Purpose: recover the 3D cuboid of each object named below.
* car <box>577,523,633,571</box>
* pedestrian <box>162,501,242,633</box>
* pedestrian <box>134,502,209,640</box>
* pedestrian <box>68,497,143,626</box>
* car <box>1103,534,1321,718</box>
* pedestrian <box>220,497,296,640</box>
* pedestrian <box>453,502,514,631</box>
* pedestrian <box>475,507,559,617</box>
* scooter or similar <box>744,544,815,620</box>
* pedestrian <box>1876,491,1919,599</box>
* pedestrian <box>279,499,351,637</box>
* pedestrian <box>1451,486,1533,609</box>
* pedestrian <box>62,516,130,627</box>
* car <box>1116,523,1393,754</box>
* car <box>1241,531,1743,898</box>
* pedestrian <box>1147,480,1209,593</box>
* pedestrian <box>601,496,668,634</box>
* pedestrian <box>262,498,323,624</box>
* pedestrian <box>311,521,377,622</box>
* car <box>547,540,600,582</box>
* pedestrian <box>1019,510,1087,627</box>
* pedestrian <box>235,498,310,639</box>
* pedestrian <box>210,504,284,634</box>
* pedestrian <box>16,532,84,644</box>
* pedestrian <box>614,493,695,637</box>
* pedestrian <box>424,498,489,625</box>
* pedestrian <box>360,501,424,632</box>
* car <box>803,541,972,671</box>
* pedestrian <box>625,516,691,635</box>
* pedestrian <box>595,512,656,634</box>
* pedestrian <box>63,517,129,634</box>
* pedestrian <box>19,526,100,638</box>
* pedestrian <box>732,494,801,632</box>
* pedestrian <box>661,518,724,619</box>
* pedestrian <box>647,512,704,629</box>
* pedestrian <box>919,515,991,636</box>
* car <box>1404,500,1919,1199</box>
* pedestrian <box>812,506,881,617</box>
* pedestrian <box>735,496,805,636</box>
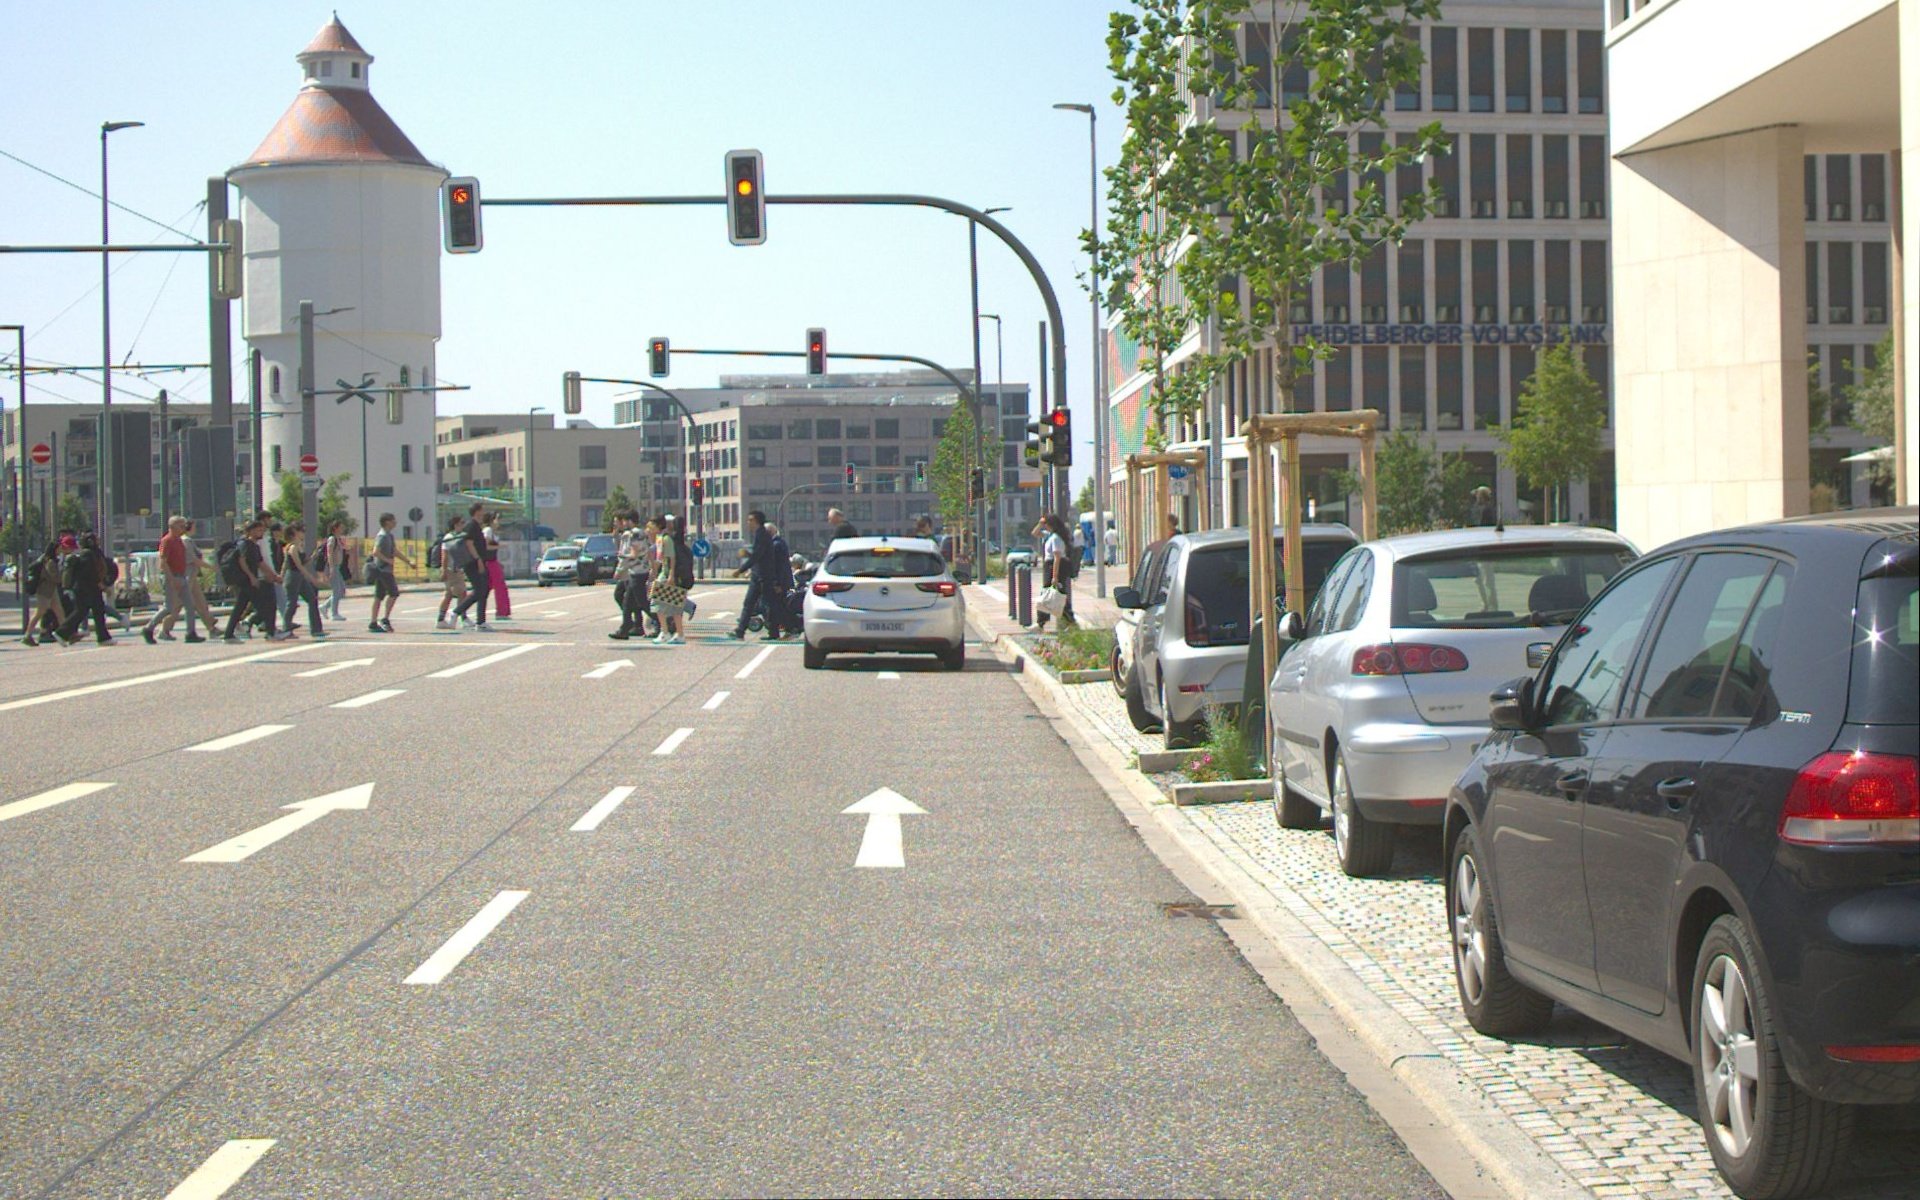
[{"bbox_3d":[-11.745,-1.742,113.896,1.586,1.525,3.693,0,0,-2],"label":"car"},{"bbox_3d":[-10.971,-0.485,49.768,0.888,1.884,0.796,-1,1,4],"label":"pedestrian"},{"bbox_3d":[-10.974,-0.408,47.886,0.887,1.884,0.692,-1,1,-6],"label":"pedestrian"},{"bbox_3d":[-13.492,-0.614,54.271,1.020,2.007,0.955,-2,1,-19],"label":"pedestrian"},{"bbox_3d":[2.047,0.166,28.761,1.429,1.385,4.000,-1,1,-1],"label":"car"},{"bbox_3d":[-9.393,-0.429,46.024,0.887,1.884,0.692,-1,1,-6],"label":"pedestrian"},{"bbox_3d":[-7.034,-0.503,50.785,0.766,1.884,0.692,-1,1,0],"label":"pedestrian"},{"bbox_3d":[-7.442,-0.647,57.817,1.181,1.814,1.068,-1,1,3],"label":"pedestrian"},{"bbox_3d":[-2.732,-0.282,52.013,0.950,1.114,0.767,-1,1,-10],"label":"scooter or similar"},{"bbox_3d":[17.632,-1.044,64.579,0.643,2.007,0.622,-1,1,-1],"label":"pedestrian"},{"bbox_3d":[-8.955,-0.455,47.762,0.887,1.884,0.692,-1,1,-6],"label":"pedestrian"},{"bbox_3d":[7.274,-0.714,47.028,0.990,1.649,0.692,-1,1,1],"label":"pedestrian"},{"bbox_3d":[-13.376,-0.446,53.214,0.893,1.668,1.013,-2,1,-19],"label":"pedestrian"},{"bbox_3d":[1.991,0.211,24.072,1.556,1.467,3.470,-1,1,-1],"label":"car"},{"bbox_3d":[2.327,0.429,15.939,1.605,1.383,3.815,-4,1,-1],"label":"car"},{"bbox_3d":[3.235,-0.945,50.994,0.888,1.641,0.796,-1,1,3],"label":"pedestrian"},{"bbox_3d":[-4.499,-0.486,47.546,0.730,1.884,0.821,-1,1,5],"label":"pedestrian"},{"bbox_3d":[-10.100,-0.590,52.024,0.734,1.884,0.713,1,1,4],"label":"pedestrian"},{"bbox_3d":[-10.273,-0.480,57.390,0.888,1.641,0.796,-1,1,3],"label":"pedestrian"},{"bbox_3d":[-14.281,-1.442,127.038,1.586,1.525,3.258,0,0,0],"label":"car"},{"bbox_3d":[1.300,-0.443,47.876,0.767,1.614,0.691,-1,1,16],"label":"pedestrian"},{"bbox_3d":[-9.358,-0.433,46.823,0.887,1.884,0.692,-1,1,-6],"label":"pedestrian"},{"bbox_3d":[-10.492,-0.459,50.624,0.888,1.884,0.796,-1,1,-1],"label":"pedestrian"},{"bbox_3d":[-12.999,-0.179,49.103,0.728,1.570,0.641,-1,1,4],"label":"pedestrian"},{"bbox_3d":[-4.074,-0.467,45.882,1.013,1.884,0.798,-1,1,-3],"label":"pedestrian"},{"bbox_3d":[-7.587,-0.587,51.821,0.841,1.884,0.692,-1,1,0],"label":"pedestrian"},{"bbox_3d":[-8.296,-0.499,50.231,0.766,1.884,0.692,-1,1,0],"label":"pedestrian"},{"bbox_3d":[-0.775,0.065,38.817,1.771,1.390,3.532,0,0,1],"label":"car"},{"bbox_3d":[-4.255,-0.353,48.474,0.794,1.641,0.891,-1,1,1],"label":"pedestrian"},{"bbox_3d":[-4.799,-0.395,49.344,0.766,1.728,0.692,-1,1,0],"label":"pedestrian"},{"bbox_3d":[-12.014,-0.347,47.835,0.633,1.612,0.768,-1,1,5],"label":"pedestrian"},{"bbox_3d":[-13.375,-0.270,51.082,0.910,1.631,0.814,-1,1,4],"label":"pedestrian"},{"bbox_3d":[-2.704,-0.525,47.938,0.887,1.884,0.796,-1,1,-6],"label":"pedestrian"},{"bbox_3d":[-4.406,-0.522,56.647,0.888,1.641,0.796,-1,1,3],"label":"pedestrian"},{"bbox_3d":[-4.275,-0.450,51.661,0.766,1.728,0.692,-1,1,0],"label":"pedestrian"},{"bbox_3d":[-0.077,-0.342,47.101,0.887,1.629,0.692,-1,1,-6],"label":"pedestrian"},{"bbox_3d":[2.394,0.510,8.694,1.736,1.469,3.981,-3,1,-3],"label":"car"},{"bbox_3d":[-1.718,-0.590,51.966,0.887,1.641,0.796,-1,1,-10],"label":"pedestrian"},{"bbox_3d":[-2.606,-0.468,47.084,0.887,1.884,0.796,-1,1,-6],"label":"pedestrian"}]
